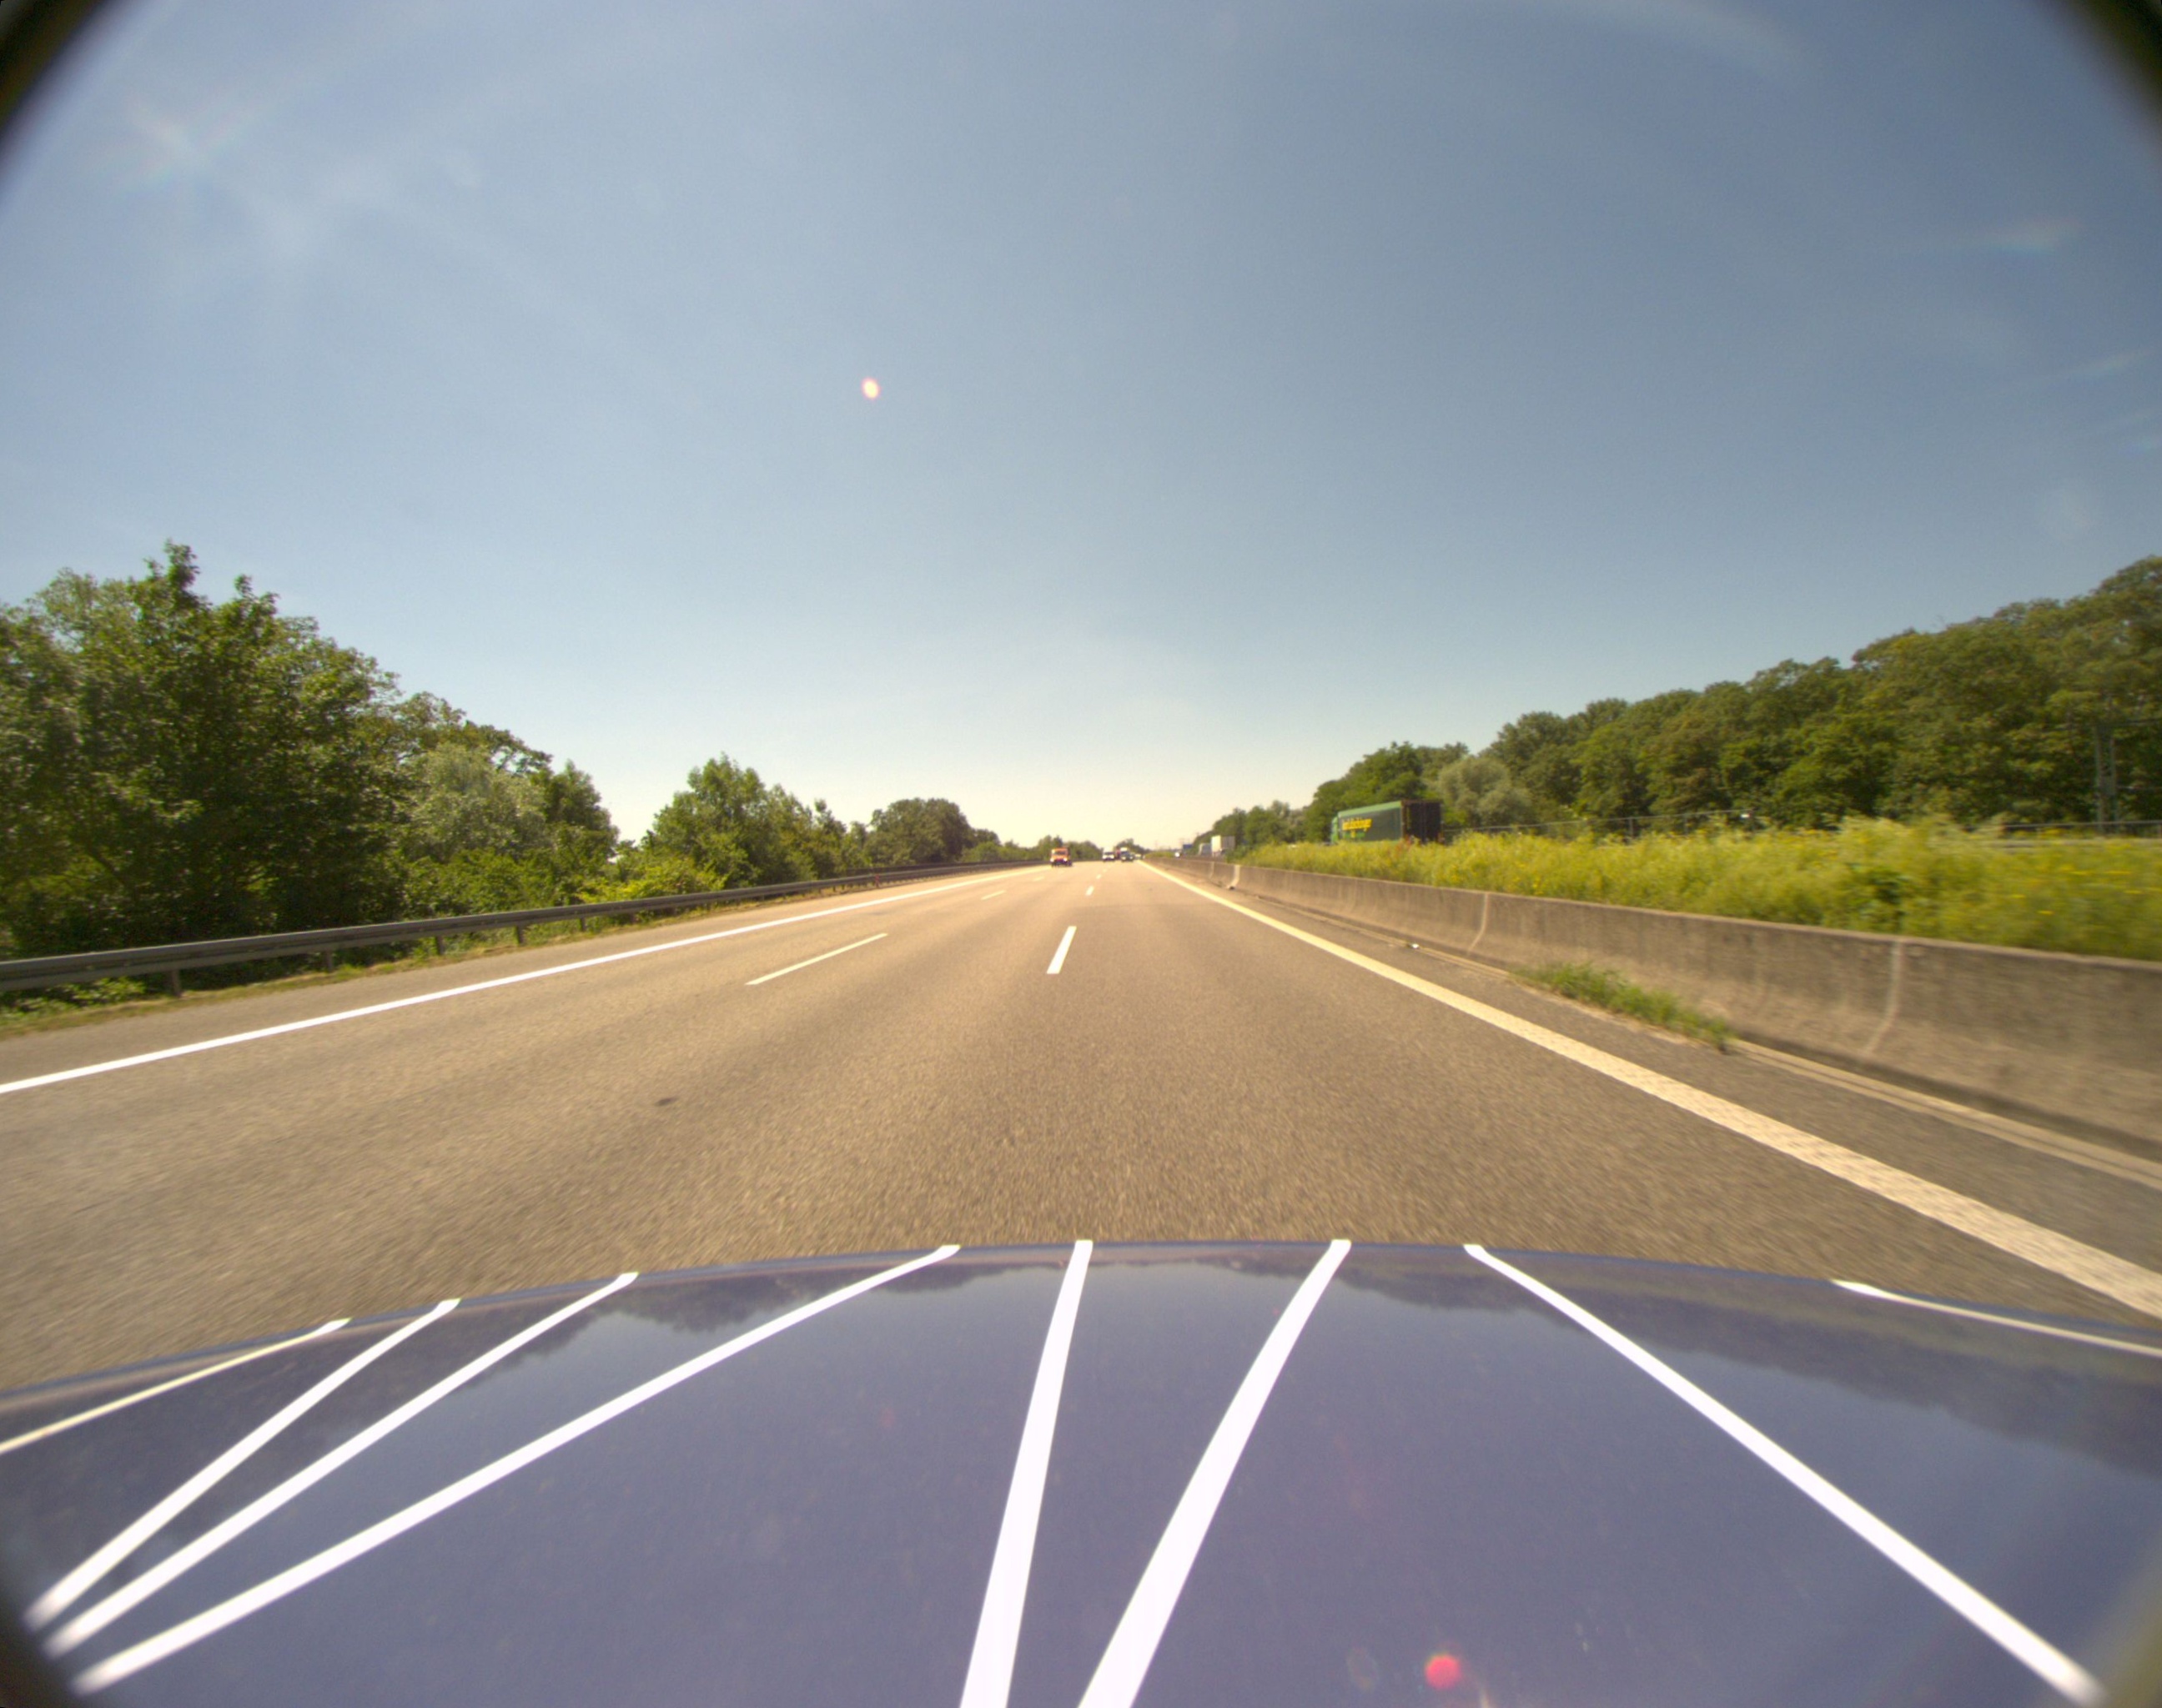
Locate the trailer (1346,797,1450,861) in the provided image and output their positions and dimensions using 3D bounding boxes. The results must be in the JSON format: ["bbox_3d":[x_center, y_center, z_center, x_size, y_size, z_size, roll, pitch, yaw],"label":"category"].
[{"bbox_3d":[21.666,-1.597,52.897,2.930,3.840,11.869,-2,0,4],"label":"trailer"}]

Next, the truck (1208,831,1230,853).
[{"bbox_3d":[26.436,-2.246,145.782,3.055,3.953,8.289,-2,0,3],"label":"truck"}]

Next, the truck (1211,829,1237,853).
[{"bbox_3d":[26.022,-2.273,138.732,3.055,3.953,11.151,-2,0,3],"label":"truck"}]

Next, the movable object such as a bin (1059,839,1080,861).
[{"bbox_3d":[-1.540,-0.493,103.703,2.178,2.798,4.764,-3,-1,7],"label":"movable object such as a bin"}]

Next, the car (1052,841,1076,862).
[{"bbox_3d":[-2.112,-0.282,97.566,1.997,2.390,7.231,-3,-1,7],"label":"car"}]

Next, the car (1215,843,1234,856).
[{"bbox_3d":[20.398,-0.648,108.148,2.004,1.702,4.540,-2,0,2],"label":"car"}]

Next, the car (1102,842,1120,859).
[{"bbox_3d":[5.763,-0.675,145.745,2.520,2.856,6.405,-6,-1,8],"label":"car"}]

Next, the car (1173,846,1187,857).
[{"bbox_3d":[17.708,-0.416,136.197,1.998,1.838,4.000,-3,0,2],"label":"car"}]

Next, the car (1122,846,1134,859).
[{"bbox_3d":[7.775,-0.230,125.430,1.998,2.002,4.001,-2,1,4],"label":"car"}]

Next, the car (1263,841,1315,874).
[{"bbox_3d":[12.299,0.160,45.226,1.998,1.829,4.074,-1,1,1],"label":"car"}]

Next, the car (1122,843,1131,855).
[{"bbox_3d":[15.622,-1.649,262.505,2.796,4.089,7.309,-3,0,5],"label":"car"}]

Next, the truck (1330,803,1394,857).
[{"bbox_3d":[22.095,-1.792,60.209,2.929,3.918,6.500,-2,0,4],"label":"truck"}]

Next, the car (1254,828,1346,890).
[{"bbox_3d":[7.927,0.147,27.990,2.297,2.002,4.712,-2,1,4],"label":"car"}]

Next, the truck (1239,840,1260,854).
[{"bbox_3d":[24.481,-1.008,110.661,1.998,1.790,4.743,-3,0,2],"label":"truck"}]

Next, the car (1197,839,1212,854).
[{"bbox_3d":[21.966,-1.287,135.434,1.998,2.553,6.129,-1,1,3],"label":"car"}]
